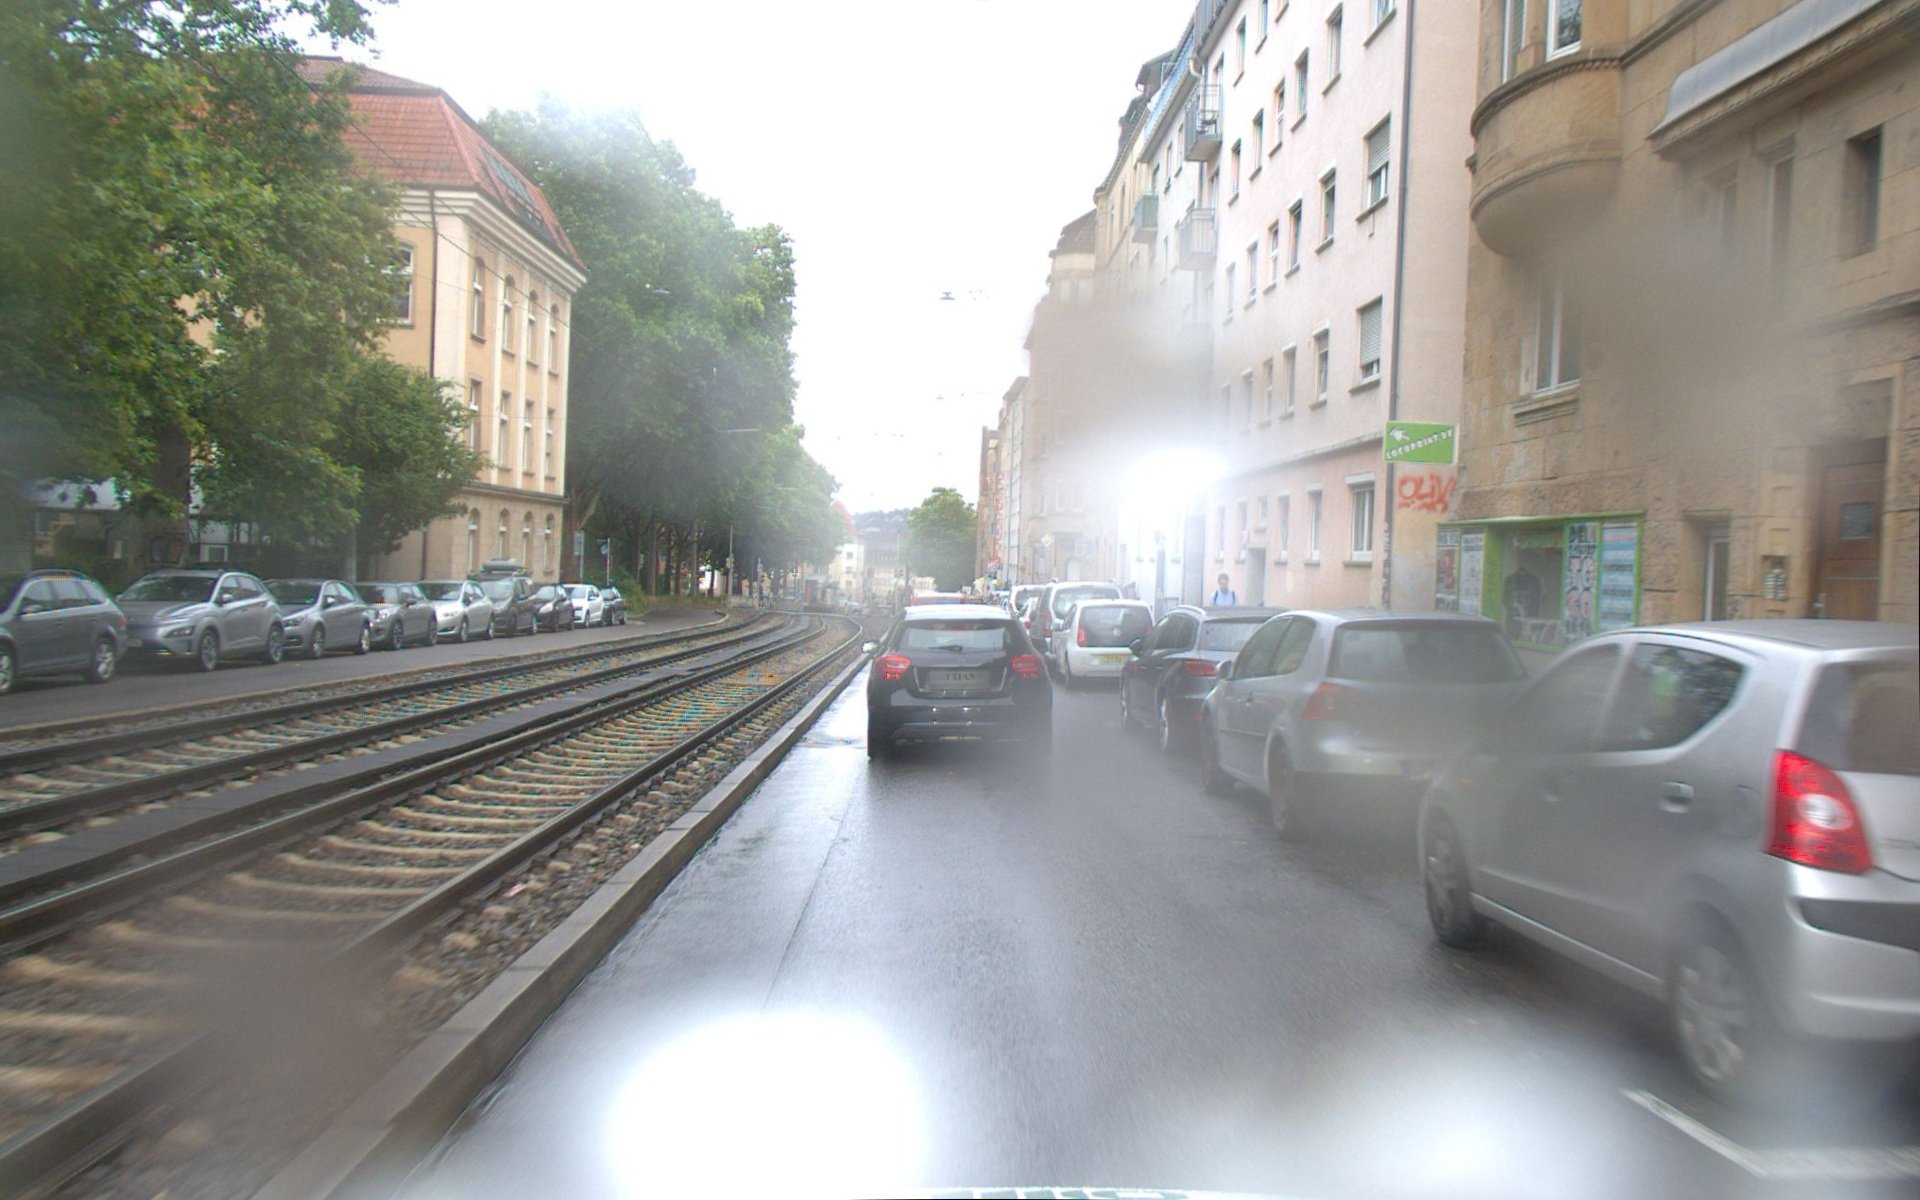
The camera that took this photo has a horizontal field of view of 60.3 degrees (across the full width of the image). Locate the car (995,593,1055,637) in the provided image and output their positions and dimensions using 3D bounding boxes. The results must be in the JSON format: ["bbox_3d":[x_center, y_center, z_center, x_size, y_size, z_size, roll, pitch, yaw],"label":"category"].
[{"bbox_3d":[2.141,0.472,55.440,1.683,1.370,4.460,2,0,-2],"label":"car"}]

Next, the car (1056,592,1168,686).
[{"bbox_3d":[2.537,0.621,28.326,1.538,1.487,3.599,1,0,-1],"label":"car"}]

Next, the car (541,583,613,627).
[{"bbox_3d":[-12.905,0.158,55.907,1.469,1.415,3.987,-1,0,0],"label":"car"}]

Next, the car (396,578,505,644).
[{"bbox_3d":[-12.588,0.255,41.099,1.508,1.531,4.153,-1,0,-2],"label":"car"}]

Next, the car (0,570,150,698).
[{"bbox_3d":[-12.128,0.399,20.793,1.812,1.489,4.548,-1,0,-3],"label":"car"}]

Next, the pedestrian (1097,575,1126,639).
[{"bbox_3d":[4.517,0.212,49.388,0.730,1.866,1.039,-1,0,0],"label":"pedestrian"}]

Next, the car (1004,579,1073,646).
[{"bbox_3d":[2.204,0.337,47.444,1.791,1.781,4.467,1,0,1],"label":"car"}]

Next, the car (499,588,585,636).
[{"bbox_3d":[-12.939,0.354,51.412,1.640,1.438,4.010,-1,0,0],"label":"car"}]

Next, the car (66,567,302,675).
[{"bbox_3d":[-12.209,0.300,26.373,1.719,1.563,4.541,-1,0,-2],"label":"car"}]

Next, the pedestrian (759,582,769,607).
[{"bbox_3d":[-14.229,-0.391,120.196,0.523,1.784,0.607,3,0,-1],"label":"pedestrian"}]

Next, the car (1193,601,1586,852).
[{"bbox_3d":[2.813,0.747,11.717,1.634,1.459,3.954,0,0,-2],"label":"car"}]

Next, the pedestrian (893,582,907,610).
[{"bbox_3d":[-3.585,-0.216,98.787,0.789,1.662,0.892,0,0,-1],"label":"pedestrian"}]

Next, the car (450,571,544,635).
[{"bbox_3d":[-12.738,0.084,45.728,1.545,1.672,4.070,-1,0,-2],"label":"car"}]

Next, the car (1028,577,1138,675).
[{"bbox_3d":[2.362,0.474,32.706,1.754,1.796,4.210,0,0,-2],"label":"car"}]

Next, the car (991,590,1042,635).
[{"bbox_3d":[2.048,0.431,60.502,1.659,1.556,3.999,1,0,-1],"label":"car"}]

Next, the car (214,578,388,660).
[{"bbox_3d":[-12.375,0.332,31.333,1.719,1.438,4.152,-1,0,-2],"label":"car"}]

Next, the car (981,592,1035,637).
[{"bbox_3d":[1.896,0.558,66.330,1.731,1.697,4.329,2,0,-3],"label":"car"}]

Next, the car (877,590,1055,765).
[{"bbox_3d":[0.012,0.686,16.485,1.548,1.531,3.573,1,0,-1],"label":"car"}]

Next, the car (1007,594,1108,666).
[{"bbox_3d":[2.154,0.636,37.760,1.833,1.481,4.901,1,0,-2],"label":"car"}]

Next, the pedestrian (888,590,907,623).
[{"bbox_3d":[-3.904,0.414,102.854,1.115,2.033,1.171,0,0,-5],"label":"pedestrian"}]

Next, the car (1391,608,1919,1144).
[{"bbox_3d":[3.027,0.775,6.463,1.559,1.459,3.682,0,0,-3],"label":"car"}]

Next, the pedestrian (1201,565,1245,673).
[{"bbox_3d":[4.398,0.312,27.705,0.595,1.794,0.688,-1,0,-2],"label":"pedestrian"}]

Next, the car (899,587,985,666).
[{"bbox_3d":[-0.407,0.543,36.174,1.749,1.609,3.999,1,0,-1],"label":"car"}]

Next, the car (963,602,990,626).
[{"bbox_3d":[1.108,0.961,114.907,1.790,1.646,3.863,0,0,-1],"label":"car"}]

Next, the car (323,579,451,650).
[{"bbox_3d":[-12.438,0.294,36.121,1.508,1.438,3.951,-1,0,-2],"label":"car"}]

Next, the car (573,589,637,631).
[{"bbox_3d":[-12.986,0.345,60.612,1.581,1.454,3.851,1,1,-1],"label":"car"}]

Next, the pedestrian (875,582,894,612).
[{"bbox_3d":[-4.504,-0.156,98.379,1.033,1.748,0.904,2,0,0],"label":"pedestrian"}]

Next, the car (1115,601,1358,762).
[{"bbox_3d":[2.726,0.750,17.233,1.636,1.434,4.309,1,0,-3],"label":"car"}]
